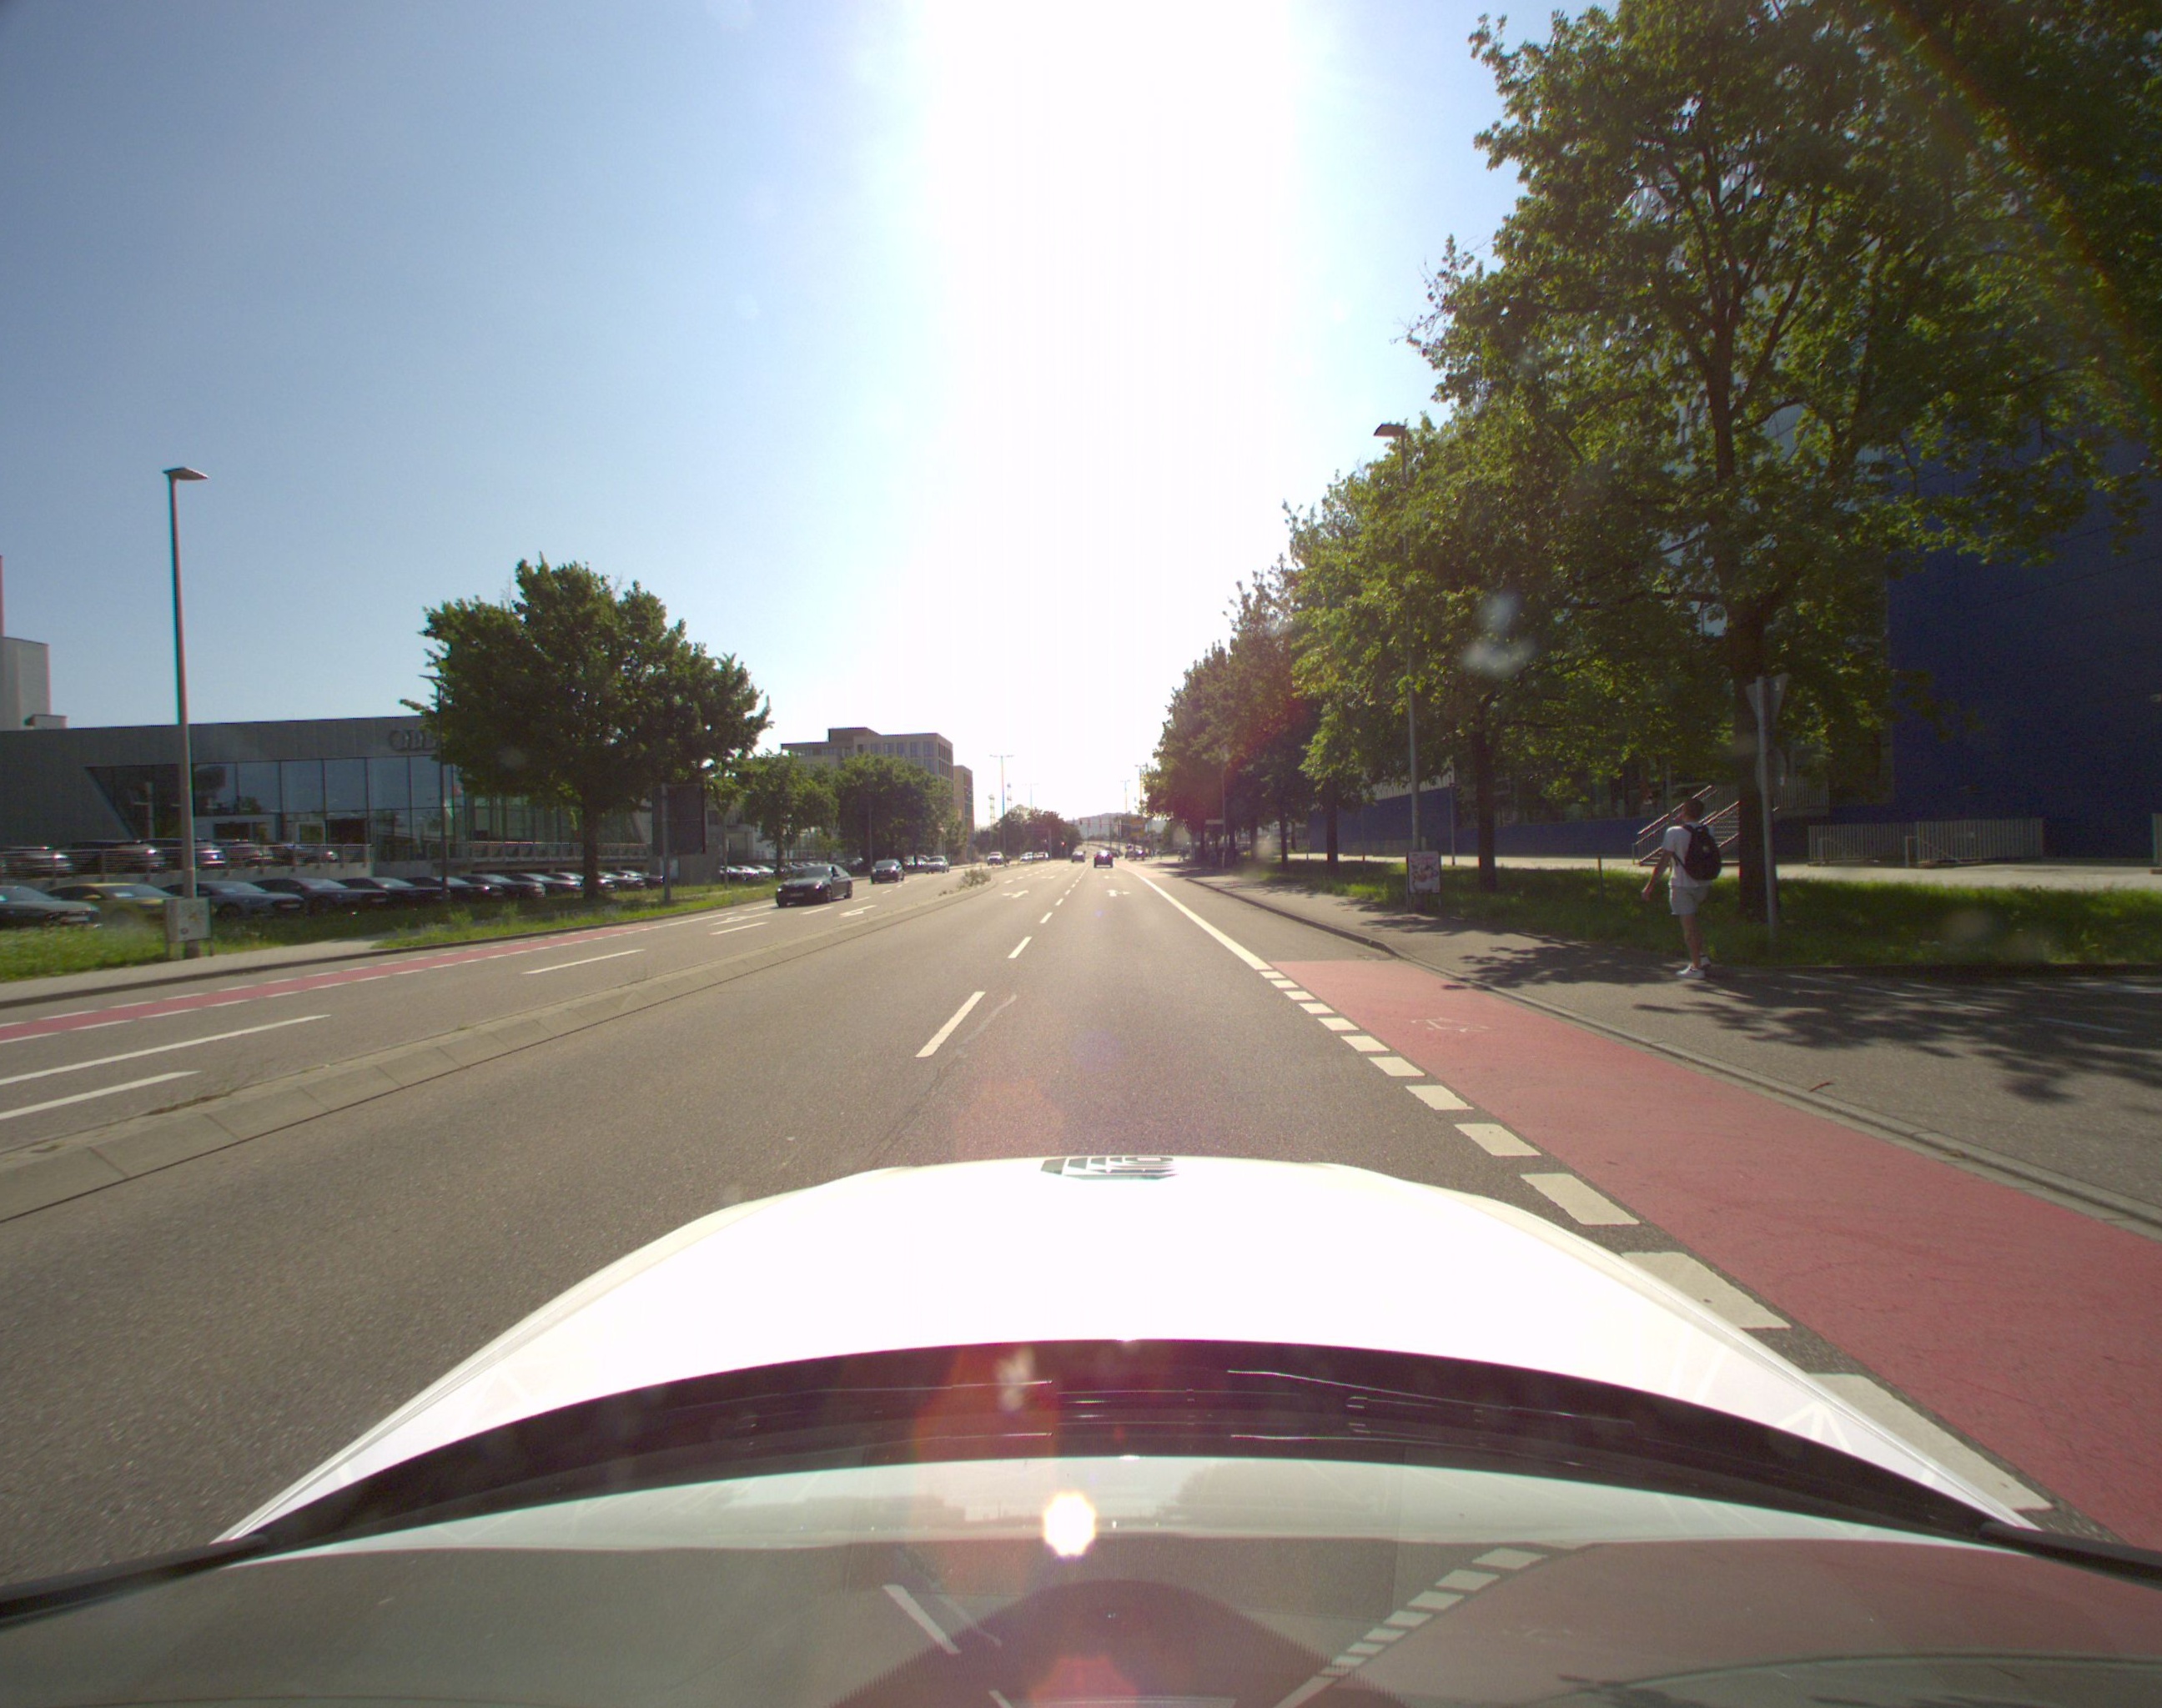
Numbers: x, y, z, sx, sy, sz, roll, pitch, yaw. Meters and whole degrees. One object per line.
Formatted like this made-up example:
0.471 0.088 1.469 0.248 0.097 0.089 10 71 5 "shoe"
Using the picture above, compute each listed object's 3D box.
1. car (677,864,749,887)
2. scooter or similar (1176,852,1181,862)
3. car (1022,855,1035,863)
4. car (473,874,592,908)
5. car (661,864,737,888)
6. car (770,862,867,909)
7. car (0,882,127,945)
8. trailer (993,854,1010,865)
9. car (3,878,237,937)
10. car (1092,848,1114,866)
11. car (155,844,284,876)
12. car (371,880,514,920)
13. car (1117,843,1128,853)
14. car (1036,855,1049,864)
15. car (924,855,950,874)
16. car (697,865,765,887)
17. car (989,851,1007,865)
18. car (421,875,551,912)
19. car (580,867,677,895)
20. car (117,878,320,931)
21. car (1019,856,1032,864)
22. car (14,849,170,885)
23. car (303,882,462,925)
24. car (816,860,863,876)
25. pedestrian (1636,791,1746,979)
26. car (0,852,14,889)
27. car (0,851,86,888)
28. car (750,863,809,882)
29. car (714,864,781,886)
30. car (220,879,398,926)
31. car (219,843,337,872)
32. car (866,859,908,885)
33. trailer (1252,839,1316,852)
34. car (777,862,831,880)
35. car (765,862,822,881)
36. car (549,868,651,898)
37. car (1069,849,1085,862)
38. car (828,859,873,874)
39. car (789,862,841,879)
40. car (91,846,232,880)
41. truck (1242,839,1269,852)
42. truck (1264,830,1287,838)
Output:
-24.996 1.429 55.428 3.972 1.376 1.866 -2 0 2 "car"
12.421 0.331 103.715 0.348 1.233 1.316 -3 0 15 "scooter or similar"
-10.411 1.076 162.590 1.806 1.464 4.007 -3 0 6 "car"
-25.544 1.709 38.018 4.247 1.350 1.956 -2 0 4 "car"
-24.883 1.435 53.142 3.972 1.376 2.001 -2 0 2 "car"
-9.939 1.132 31.253 1.834 1.463 5.003 -4 0 2 "car"
-26.258 1.456 19.677 4.247 1.350 1.956 -2 0 4 "car"
-11.787 0.751 120.836 1.987 1.453 5.771 -2 0 0 "trailer"
-26.284 1.435 22.376 4.247 1.350 1.956 -2 0 4 "car"
2.224 0.306 80.481 1.798 1.640 4.465 -2 0 5 "car"
-41.961 0.288 39.733 4.249 1.350 1.955 -2 0 2 "car"
-25.727 1.835 32.910 4.247 1.350 1.956 -2 0 4 "car"
7.572 -1.047 148.818 1.752 1.758 3.602 0 1 -1 "car"
-7.355 1.064 156.207 1.806 1.464 4.007 -3 0 6 "car"
-12.622 0.885 71.619 1.649 1.464 3.549 -4 0 -1 "car"
-24.735 1.538 57.621 3.972 1.376 1.866 -2 0 2 "car"
-11.808 0.563 115.508 1.987 1.832 4.936 -2 0 0 "car"
-25.792 1.704 35.388 4.247 1.350 1.956 -2 0 4 "car"
-25.120 1.484 45.307 4.247 1.350 1.956 -2 0 4 "car"
-26.274 1.509 24.906 4.246 1.350 1.956 -2 0 4 "car"
-10.559 1.094 155.102 1.882 1.464 4.007 -3 0 6 "car"
-41.689 0.533 34.392 4.249 1.350 1.955 -2 0 2 "car"
-25.889 1.812 30.274 4.247 1.350 1.956 -2 0 4 "car"
-23.756 1.350 80.207 3.972 1.376 1.925 -2 0 2 "car"
6.267 0.305 8.402 0.533 1.841 0.728 -2 0 2 "pedestrian"
-41.767 0.691 29.314 4.249 1.350 1.955 -2 0 2 "car"
-42.393 0.637 31.996 4.249 1.350 1.955 -2 0 2 "car"
-24.296 1.476 65.702 3.972 1.376 1.925 -2 0 2 "car"
-24.717 1.538 60.397 4.026 1.376 2.026 -2 0 2 "car"
-25.946 1.611 27.468 4.247 1.350 1.956 -2 0 4 "car"
-41.877 0.165 42.556 4.249 1.350 1.955 -2 0 2 "car"
-12.070 1.082 50.851 1.780 1.414 3.994 -4 0 -4 "car"
39.136 -1.608 157.292 11.828 2.469 2.001 0 1 1 "trailer"
-24.021 1.470 70.711 3.972 1.376 1.925 -2 0 2 "car"
-24.102 1.486 68.311 3.972 1.376 1.925 -2 0 2 "car"
-25.473 1.525 43.207 4.247 1.350 1.956 -2 0 4 "car"
-0.480 0.204 114.157 1.985 1.684 4.003 -2 0 3 "car"
-23.572 1.285 83.421 3.972 1.376 1.925 -2 0 2 "car"
-23.829 1.482 72.982 3.972 1.376 1.925 -2 0 2 "car"
-41.688 0.399 37.005 4.249 1.350 1.955 -2 0 2 "car"
33.636 -1.590 157.334 4.864 2.423 2.000 0 1 0 "truck"
52.104 -5.348 218.425 5.883 2.013 2.002 0 1 4 "truck"
